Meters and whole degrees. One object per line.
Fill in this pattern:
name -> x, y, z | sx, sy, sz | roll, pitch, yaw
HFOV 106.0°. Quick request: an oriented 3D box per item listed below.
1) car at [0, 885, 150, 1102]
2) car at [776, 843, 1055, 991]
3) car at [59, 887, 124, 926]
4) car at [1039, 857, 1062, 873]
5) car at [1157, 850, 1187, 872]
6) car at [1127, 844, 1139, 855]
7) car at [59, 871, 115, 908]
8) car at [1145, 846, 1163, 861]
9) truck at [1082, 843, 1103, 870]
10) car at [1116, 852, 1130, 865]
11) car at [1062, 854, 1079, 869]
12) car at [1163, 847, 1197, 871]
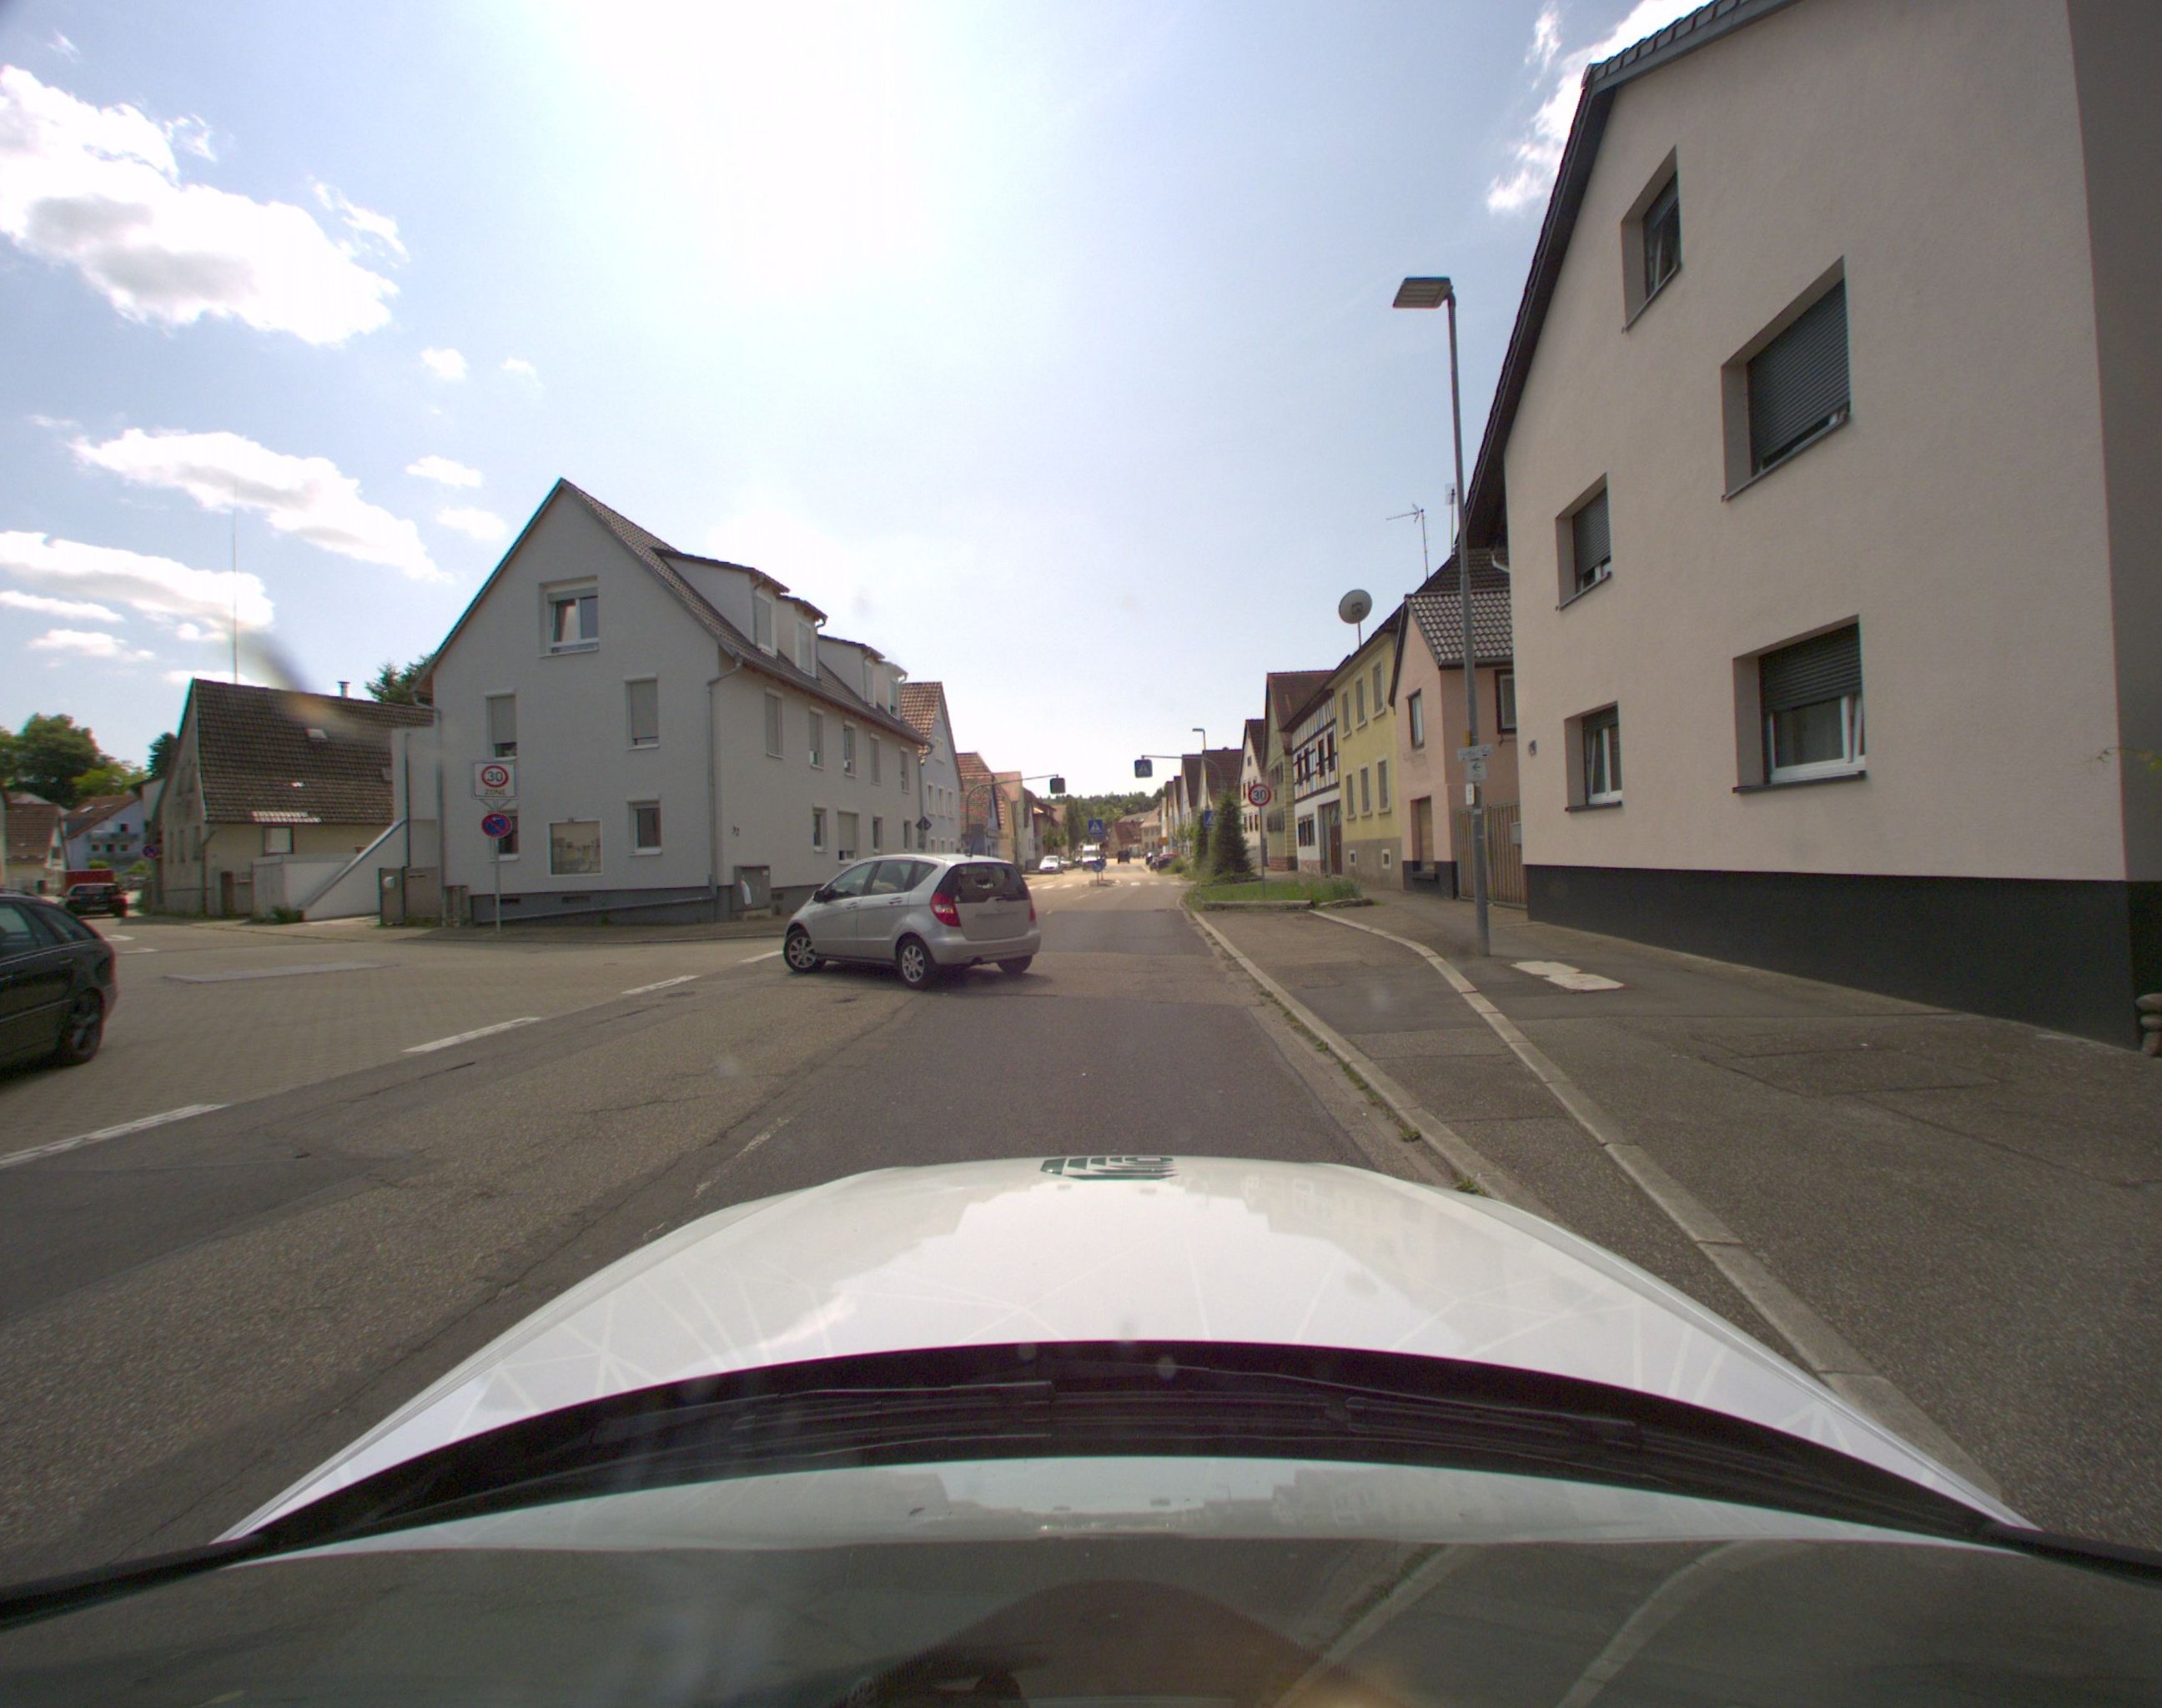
car -> -7.798, 0.910, 4.802 | 1.821, 1.412, 4.588 | 0, -2, -33
car -> -2.317, 0.727, 10.958 | 3.681, 1.643, 1.827 | -1, -1, 42
car -> -41.979, 2.204, 34.523 | 3.431, 1.530, 1.500 | -3, -3, 36
car -> -2.762, 0.987, 72.867 | 1.989, 1.321, 3.704 | -1, -2, -3
car -> 6.911, 0.584, 61.975 | 1.985, 1.508, 4.002 | -1, -2, 2
car -> 9.829, -0.830, 153.978 | 1.986, 2.014, 4.002 | -1, -2, 2
car -> -46.400, 1.656, 37.993 | 3.431, 1.635, 1.406 | -3, -3, 36
car -> 9.427, -0.062, 105.507 | 1.986, 1.816, 4.001 | -1, -2, 1
truck -> 1.214, 0.317, 84.952 | 1.986, 2.537, 6.741 | -1, -2, 2
car -> 6.369, 0.747, 124.629 | 1.986, 1.816, 4.001 | -1, -2, 1
car -> -1.222, 0.871, 93.280 | 1.660, 1.596, 4.002 | -1, -2, 3
car -> 6.714, 0.357, 55.386 | 1.985, 1.508, 4.002 | -1, -2, 2
